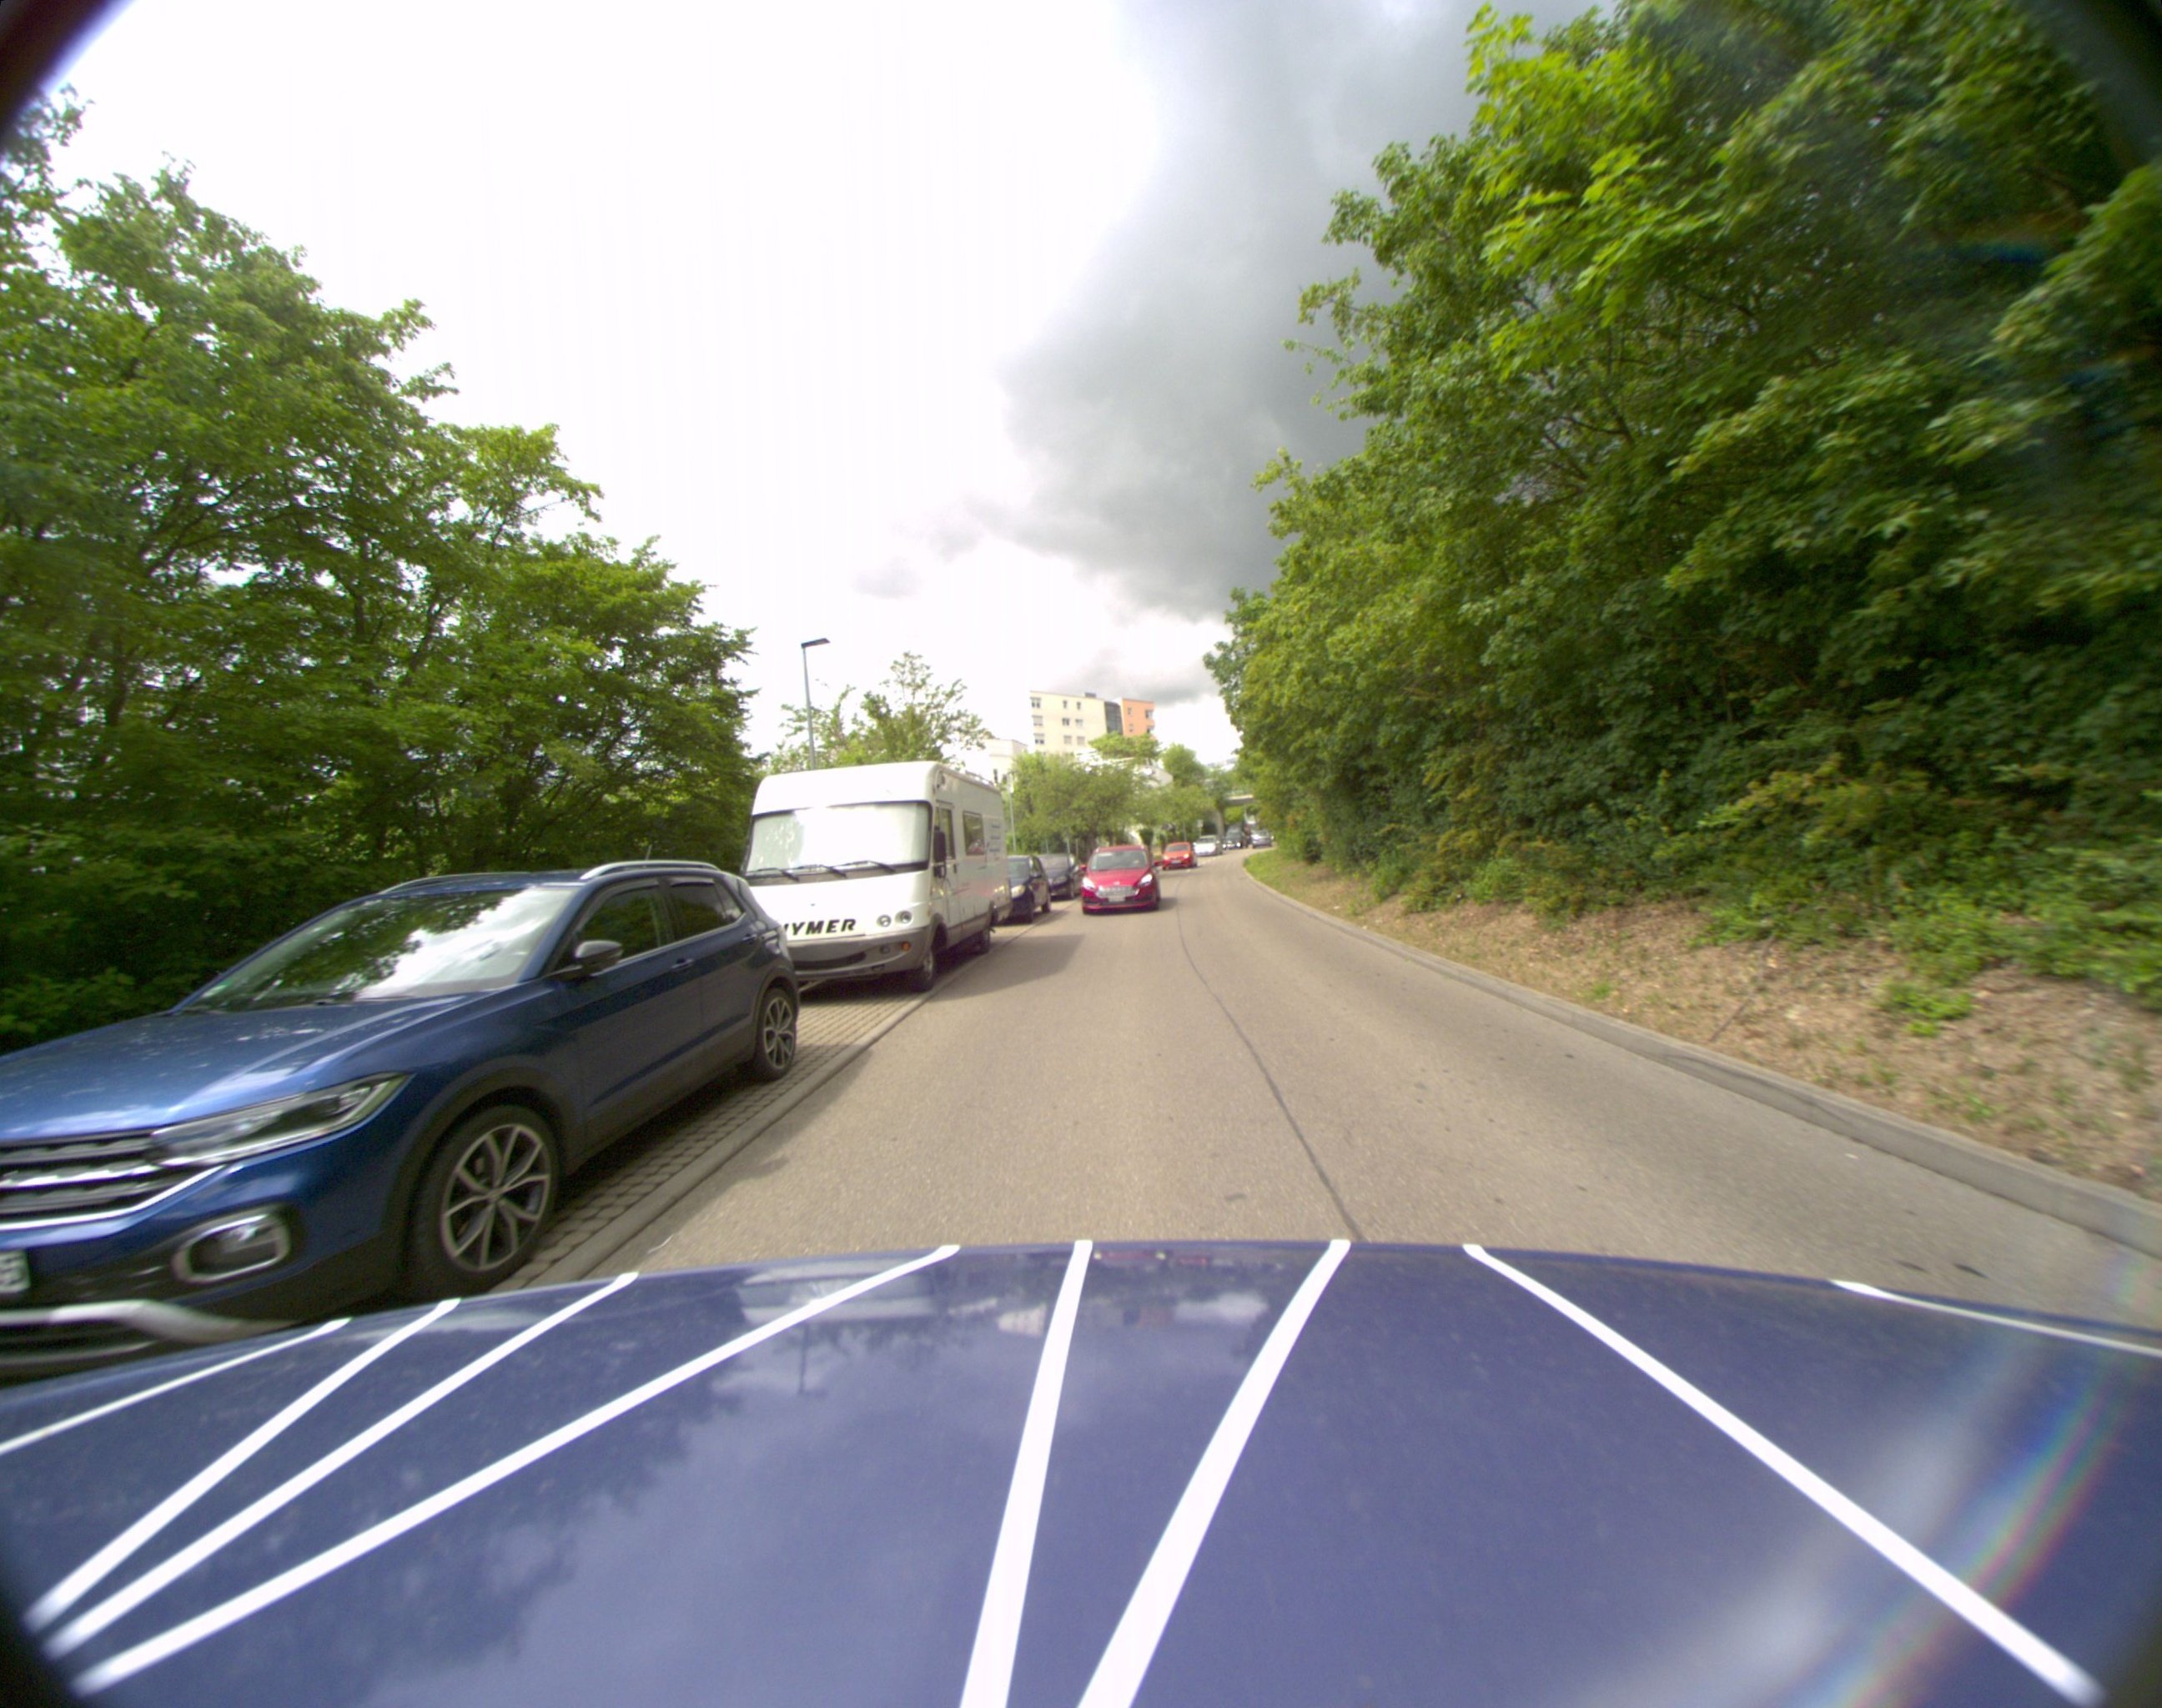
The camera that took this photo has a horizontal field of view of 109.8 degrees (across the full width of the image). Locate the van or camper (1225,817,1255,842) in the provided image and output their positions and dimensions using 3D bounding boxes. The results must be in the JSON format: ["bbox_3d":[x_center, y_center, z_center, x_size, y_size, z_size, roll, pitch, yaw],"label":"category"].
[{"bbox_3d":[18.416,-2.863,87.756,1.995,2.481,5.765,-4,2,25],"label":"van or camper"}]

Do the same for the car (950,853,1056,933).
[{"bbox_3d":[-1.735,0.842,18.260,1.732,1.510,3.889,-3,2,5],"label":"car"}]

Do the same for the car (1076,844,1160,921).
[{"bbox_3d":[1.007,0.632,18.903,1.812,1.600,3.722,-2,2,6],"label":"car"}]

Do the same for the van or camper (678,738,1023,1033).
[{"bbox_3d":[-2.617,0.306,10.862,2.337,2.852,6.152,-5,0,5],"label":"van or camper"}]

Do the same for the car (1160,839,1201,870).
[{"bbox_3d":[5.522,-0.021,42.627,1.861,1.434,4.000,-5,2,3],"label":"car"}]

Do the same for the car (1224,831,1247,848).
[{"bbox_3d":[14.631,-1.366,71.859,1.778,1.412,4.003,-4,1,15],"label":"car"}]

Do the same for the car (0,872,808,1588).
[{"bbox_3d":[-3.023,0.979,3.779,1.715,1.582,4.000,-5,0,1],"label":"car"}]

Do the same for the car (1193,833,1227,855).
[{"bbox_3d":[10.189,-0.833,59.829,1.778,1.444,4.004,-5,2,21],"label":"car"}]

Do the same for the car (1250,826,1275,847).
[{"bbox_3d":[16.653,-1.640,69.520,1.755,1.652,4.124,-7,0,18],"label":"car"}]

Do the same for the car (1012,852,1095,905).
[{"bbox_3d":[-0.800,0.734,24.907,1.779,1.426,4.336,-3,1,10],"label":"car"}]
